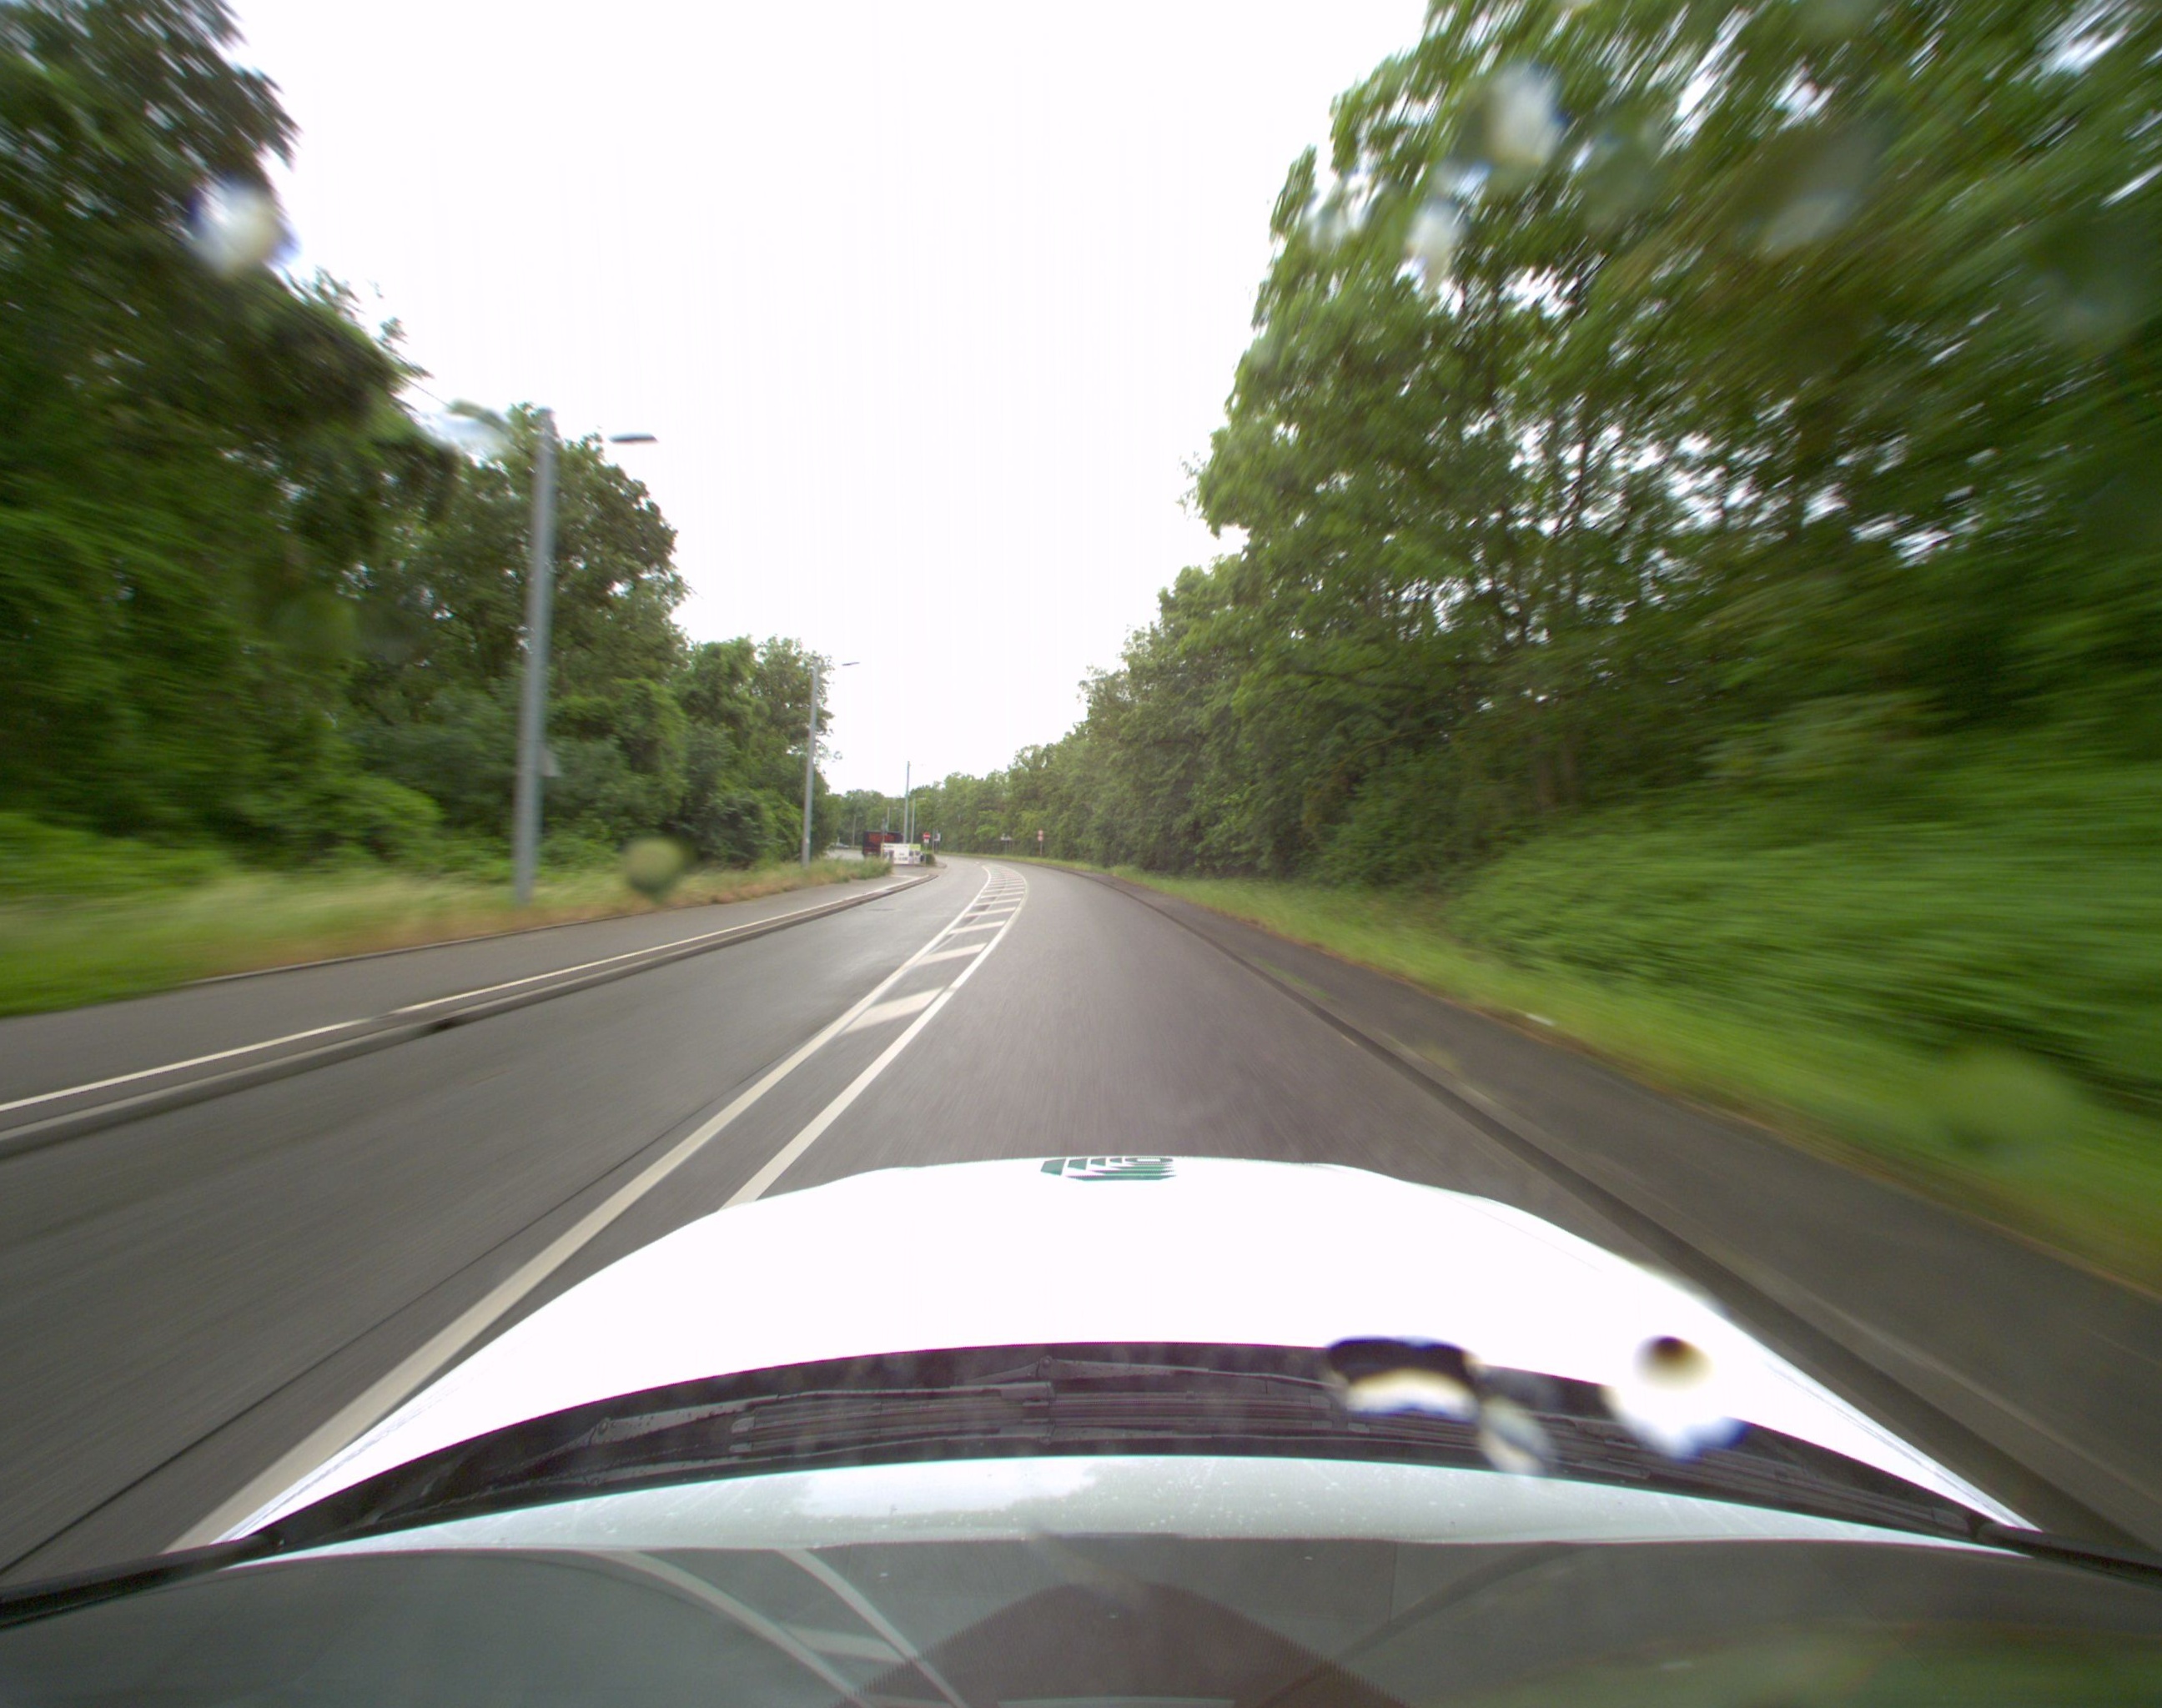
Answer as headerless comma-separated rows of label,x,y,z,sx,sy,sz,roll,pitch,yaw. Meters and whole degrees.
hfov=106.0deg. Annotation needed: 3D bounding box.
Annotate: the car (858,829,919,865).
car,-19.411,-0.673,82.089,5.960,3.502,1.989,0,0,-16
